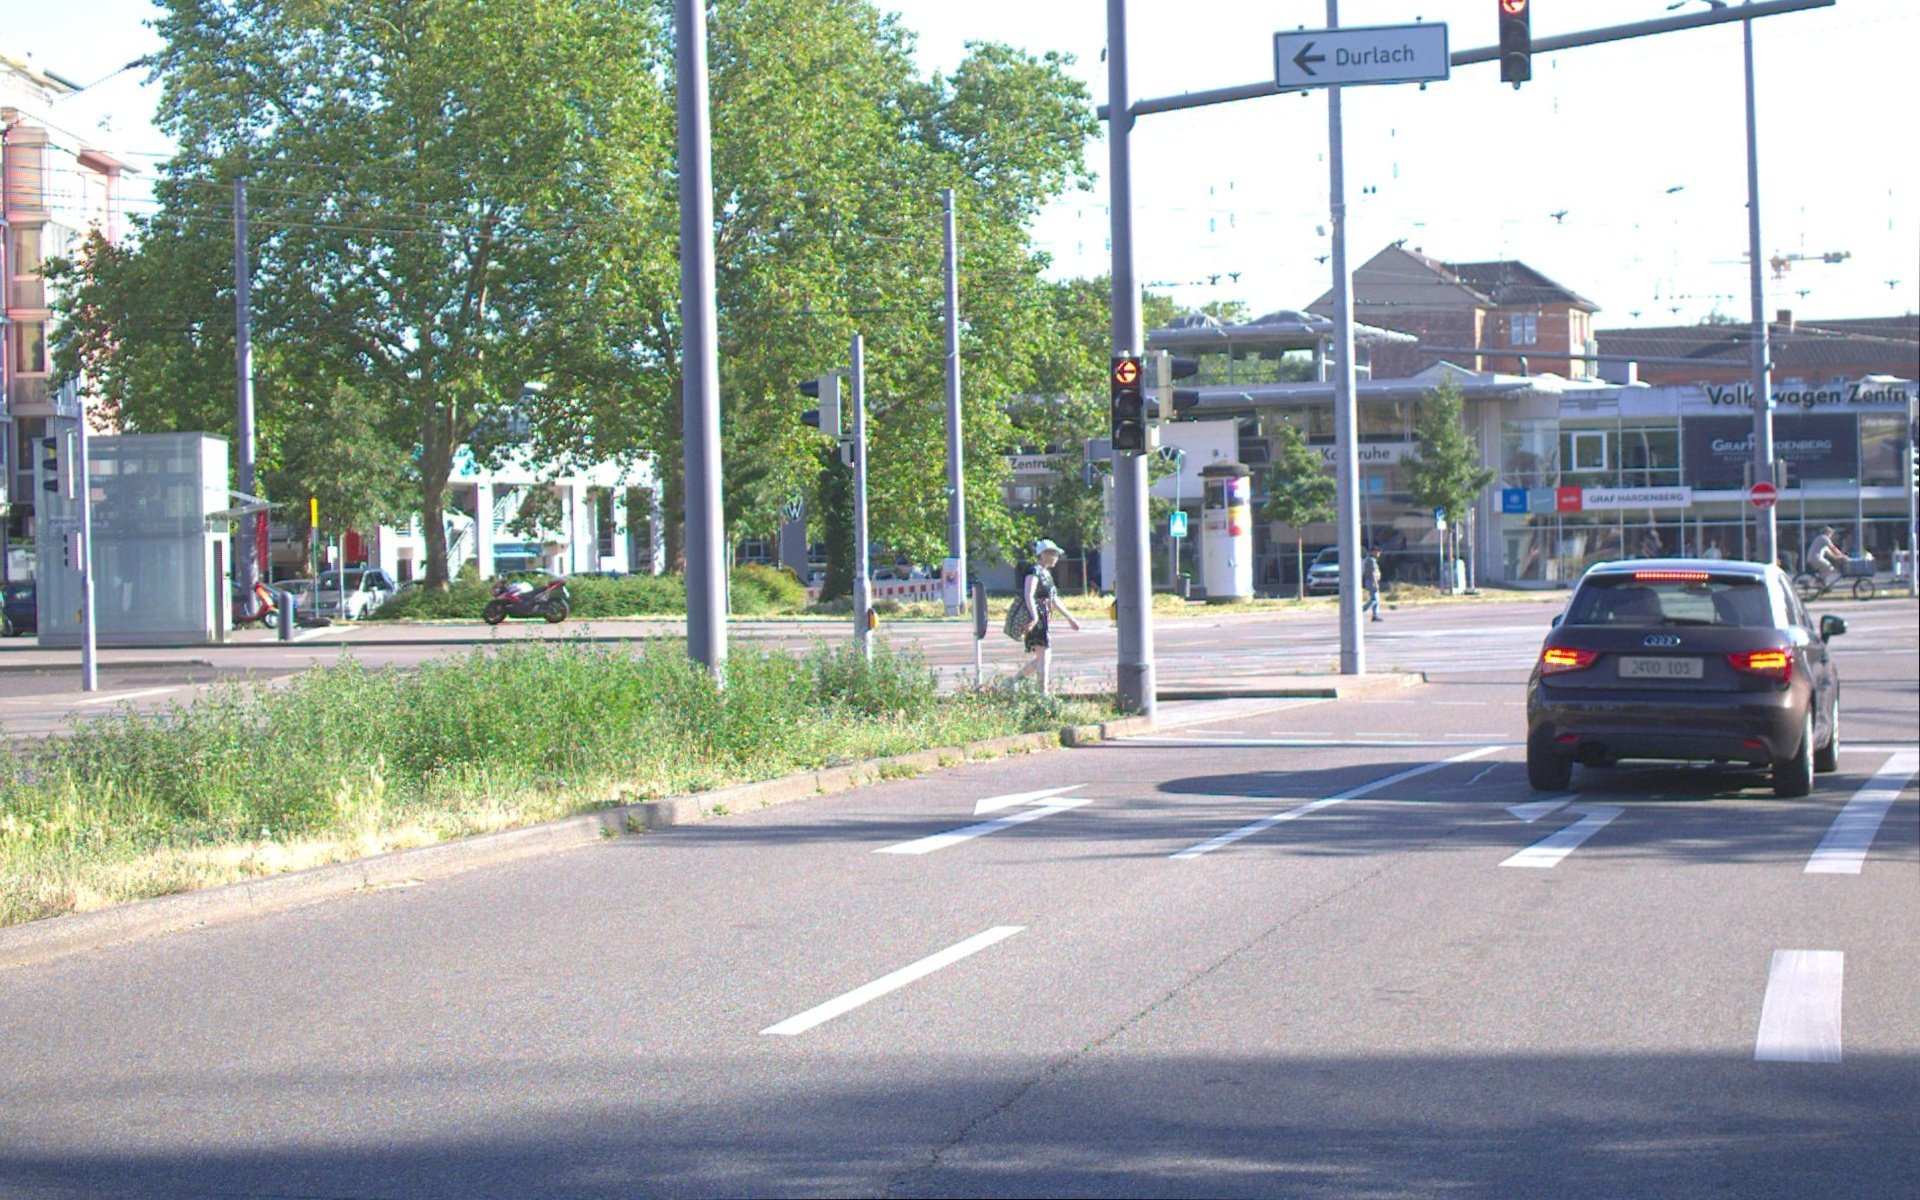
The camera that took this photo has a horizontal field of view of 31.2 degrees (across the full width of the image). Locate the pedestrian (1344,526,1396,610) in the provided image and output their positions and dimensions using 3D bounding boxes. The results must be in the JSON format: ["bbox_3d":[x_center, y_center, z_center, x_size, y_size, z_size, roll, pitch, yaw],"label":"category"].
[{"bbox_3d":[9.085,-0.712,76.083,0.990,1.810,0.919,0,3,17],"label":"pedestrian"}]

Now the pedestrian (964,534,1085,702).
[{"bbox_3d":[0.632,0.170,33.550,1.093,1.601,0.699,0,2,8],"label":"pedestrian"}]

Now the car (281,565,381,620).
[{"bbox_3d":[-17.183,-0.216,94.135,1.847,1.447,4.000,-1,1,2],"label":"car"}]

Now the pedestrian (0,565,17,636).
[{"bbox_3d":[-23.107,0.014,82.377,0.776,1.670,0.783,-1,0,1],"label":"pedestrian"}]

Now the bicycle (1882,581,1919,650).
[{"bbox_3d":[13.679,0.194,45.920,2.493,0.871,0.860,-1,2,-3],"label":"bicycle"}]

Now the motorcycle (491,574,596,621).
[{"bbox_3d":[-9.590,-0.062,79.177,2.285,1.050,0.687,0,2,5],"label":"motorcycle"}]

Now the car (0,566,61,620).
[{"bbox_3d":[-26.391,-0.178,92.490,3.986,1.417,1.813,-1,1,-4],"label":"car"}]

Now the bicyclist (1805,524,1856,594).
[{"bbox_3d":[19.832,-0.935,78.339,0.923,1.554,0.860,-1,2,-2],"label":"bicyclist"}]

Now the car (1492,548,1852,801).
[{"bbox_3d":[4.630,0.397,21.954,1.802,1.439,3.975,1,1,18],"label":"car"}]

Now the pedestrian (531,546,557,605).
[{"bbox_3d":[-14.130,-0.833,116.803,0.589,2.007,0.710,-1,1,18],"label":"pedestrian"}]

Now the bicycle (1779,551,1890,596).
[{"bbox_3d":[19.929,-0.602,78.387,2.296,0.976,0.860,-1,2,-1],"label":"bicycle"}]

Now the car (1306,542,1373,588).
[{"bbox_3d":[13.741,-1.281,124.280,1.994,1.529,3.998,0,3,12],"label":"car"}]
